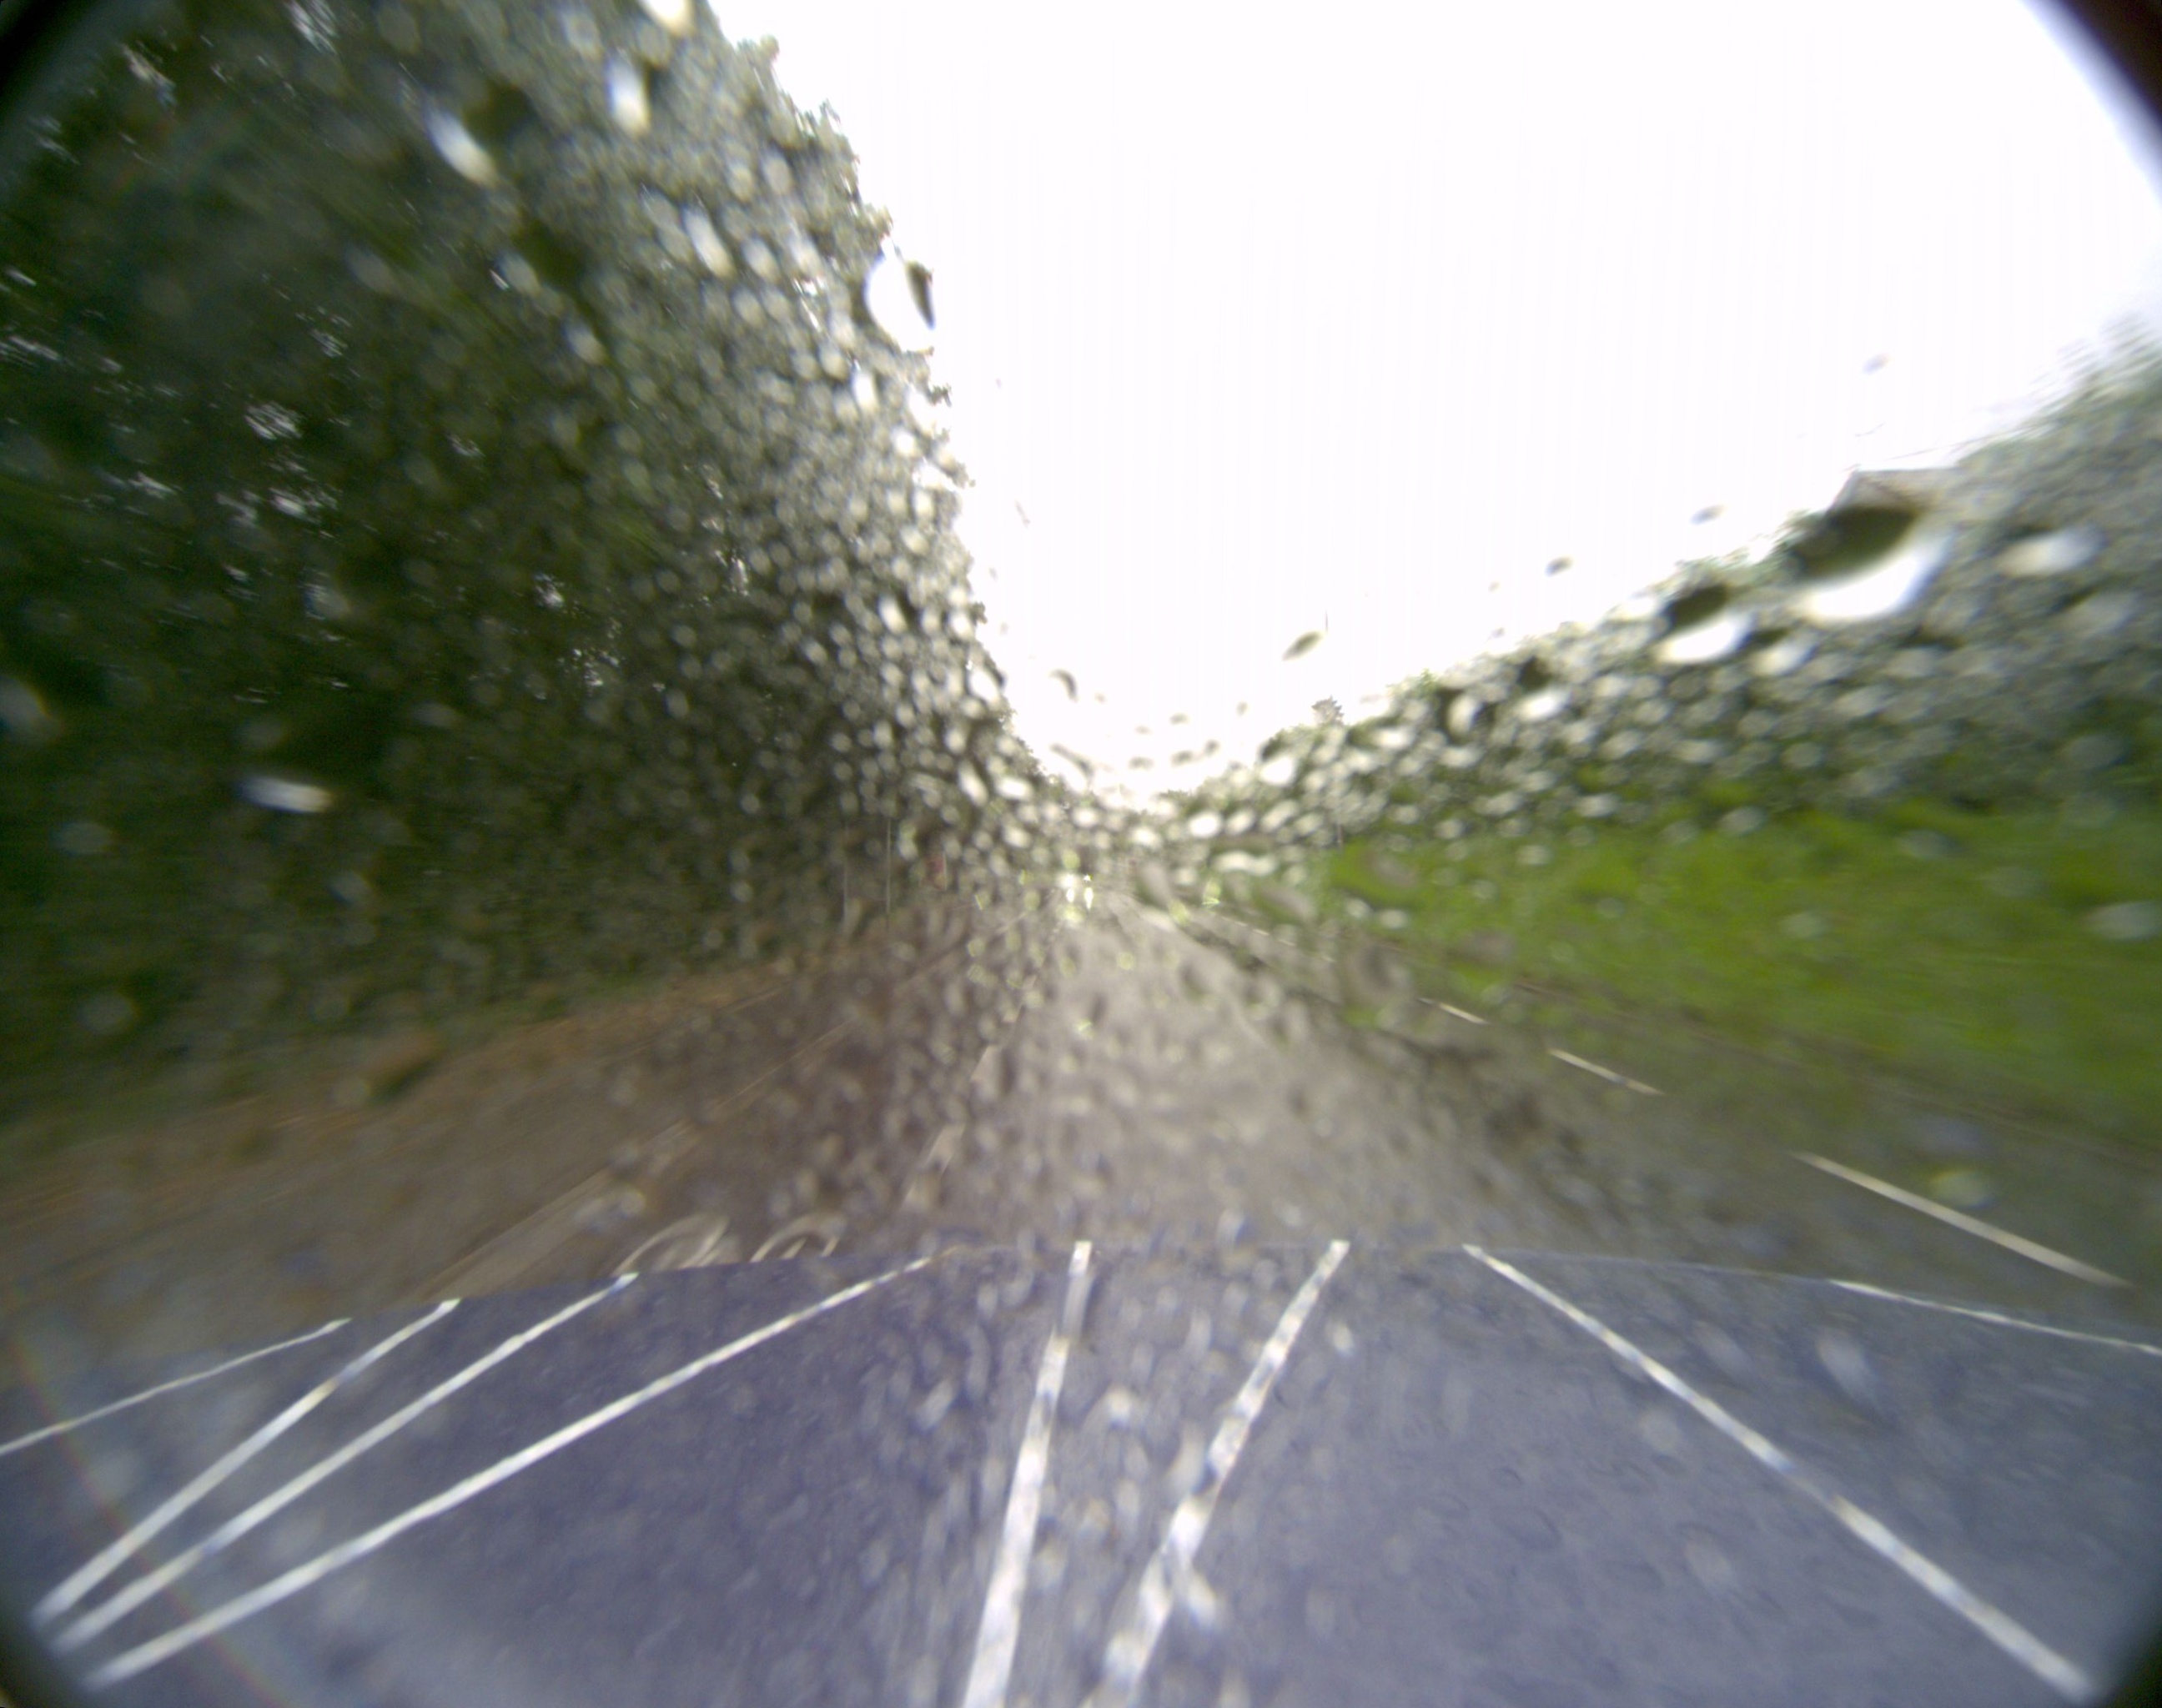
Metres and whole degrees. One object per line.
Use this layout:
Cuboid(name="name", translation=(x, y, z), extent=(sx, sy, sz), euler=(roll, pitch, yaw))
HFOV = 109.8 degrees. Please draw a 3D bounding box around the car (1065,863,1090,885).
Cuboid(name="car", translation=(-0.273, 1.541, 60.261), extent=(1.799, 1.543, 4.000), euler=(-4, 0, 0))
